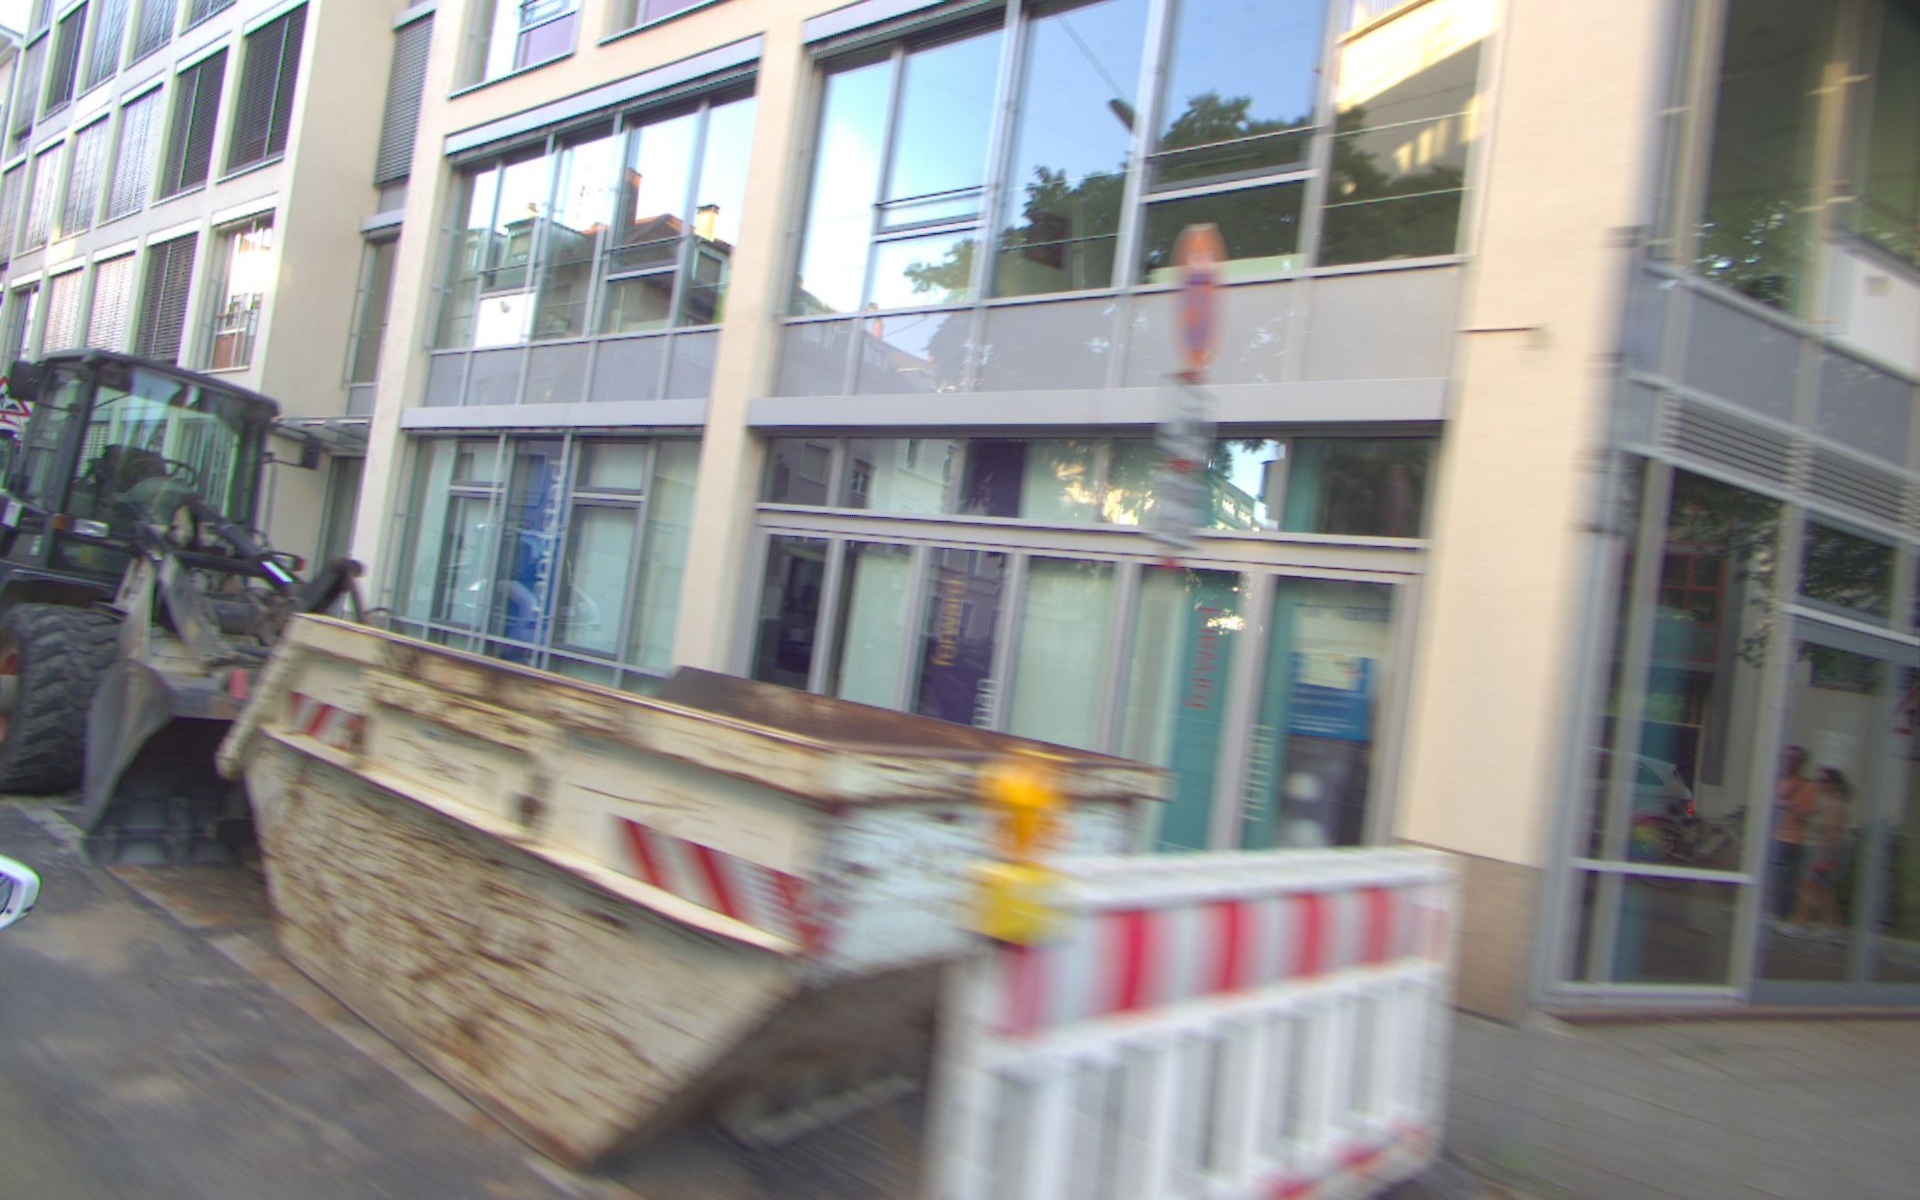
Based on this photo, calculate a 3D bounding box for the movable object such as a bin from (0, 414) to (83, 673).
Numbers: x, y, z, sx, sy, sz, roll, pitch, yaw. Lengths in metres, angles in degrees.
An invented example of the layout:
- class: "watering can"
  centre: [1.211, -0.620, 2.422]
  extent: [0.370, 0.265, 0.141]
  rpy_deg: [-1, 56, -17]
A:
- class: "movable object such as a bin"
  centre: [-12.674, -0.949, 11.782]
  extent: [5.660, 2.650, 2.021]
  rpy_deg: [7, -4, 35]

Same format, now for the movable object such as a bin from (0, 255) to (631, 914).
- class: "movable object such as a bin"
  centre: [-4.918, -0.159, 6.458]
  extent: [5.661, 2.650, 2.021]
  rpy_deg: [6, -5, 35]
